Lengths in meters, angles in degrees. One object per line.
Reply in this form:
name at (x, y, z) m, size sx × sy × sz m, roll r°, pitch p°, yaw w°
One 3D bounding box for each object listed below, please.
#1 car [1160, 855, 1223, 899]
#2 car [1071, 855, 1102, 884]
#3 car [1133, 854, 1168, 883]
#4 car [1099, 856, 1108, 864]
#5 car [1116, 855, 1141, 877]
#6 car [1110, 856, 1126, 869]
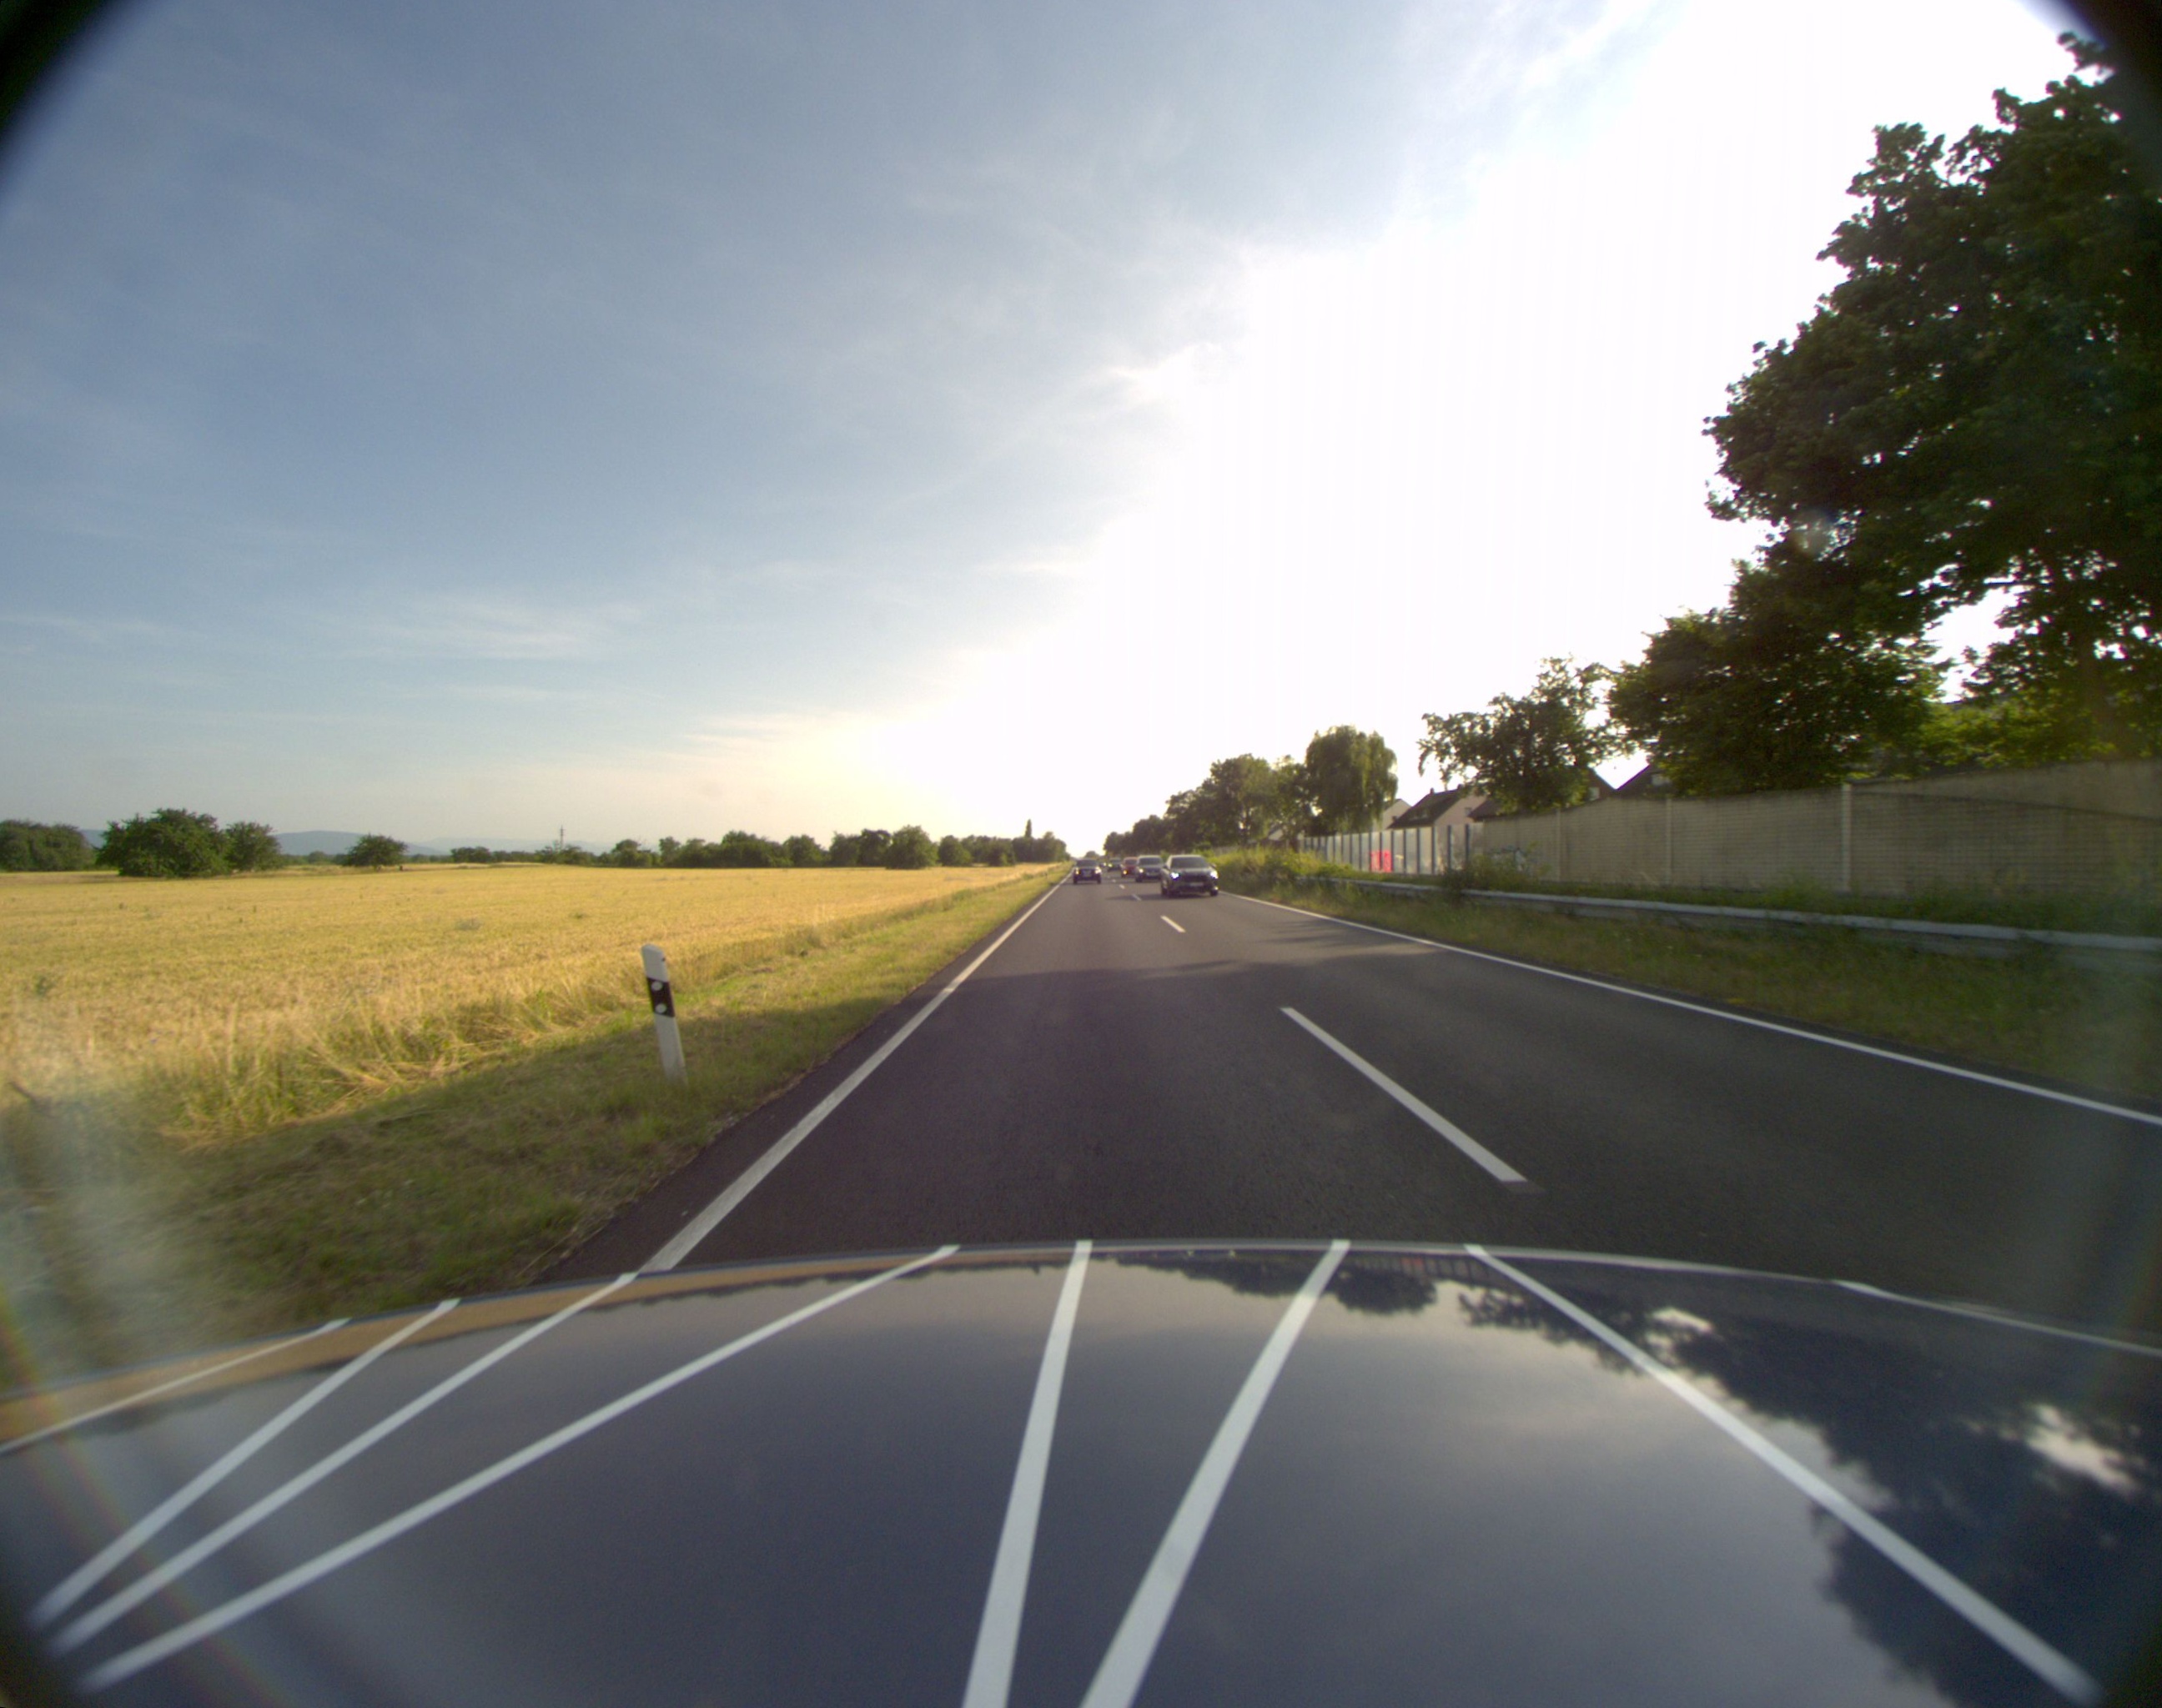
car at (4.255, 0.830, 29.863) m, size 1.822 × 1.516 × 4.246 m, roll -2°, pitch 0°, yaw 0°
car at (0.360, 0.947, 48.376) m, size 1.822 × 1.661 × 3.999 m, roll -2°, pitch 0°, yaw 0°
car at (4.352, 0.885, 48.188) m, size 1.822 × 1.724 × 4.000 m, roll -2°, pitch 0°, yaw 1°
car at (4.741, 1.223, 158.523) m, size 1.693 × 1.397 × 3.999 m, roll -2°, pitch 0°, yaw 0°
car at (3.918, 0.988, 63.637) m, size 1.822 × 1.661 × 4.000 m, roll -2°, pitch 0°, yaw 0°
car at (4.613, 1.023, 95.053) m, size 1.700 × 1.456 × 3.646 m, roll -2°, pitch 0°, yaw 0°
